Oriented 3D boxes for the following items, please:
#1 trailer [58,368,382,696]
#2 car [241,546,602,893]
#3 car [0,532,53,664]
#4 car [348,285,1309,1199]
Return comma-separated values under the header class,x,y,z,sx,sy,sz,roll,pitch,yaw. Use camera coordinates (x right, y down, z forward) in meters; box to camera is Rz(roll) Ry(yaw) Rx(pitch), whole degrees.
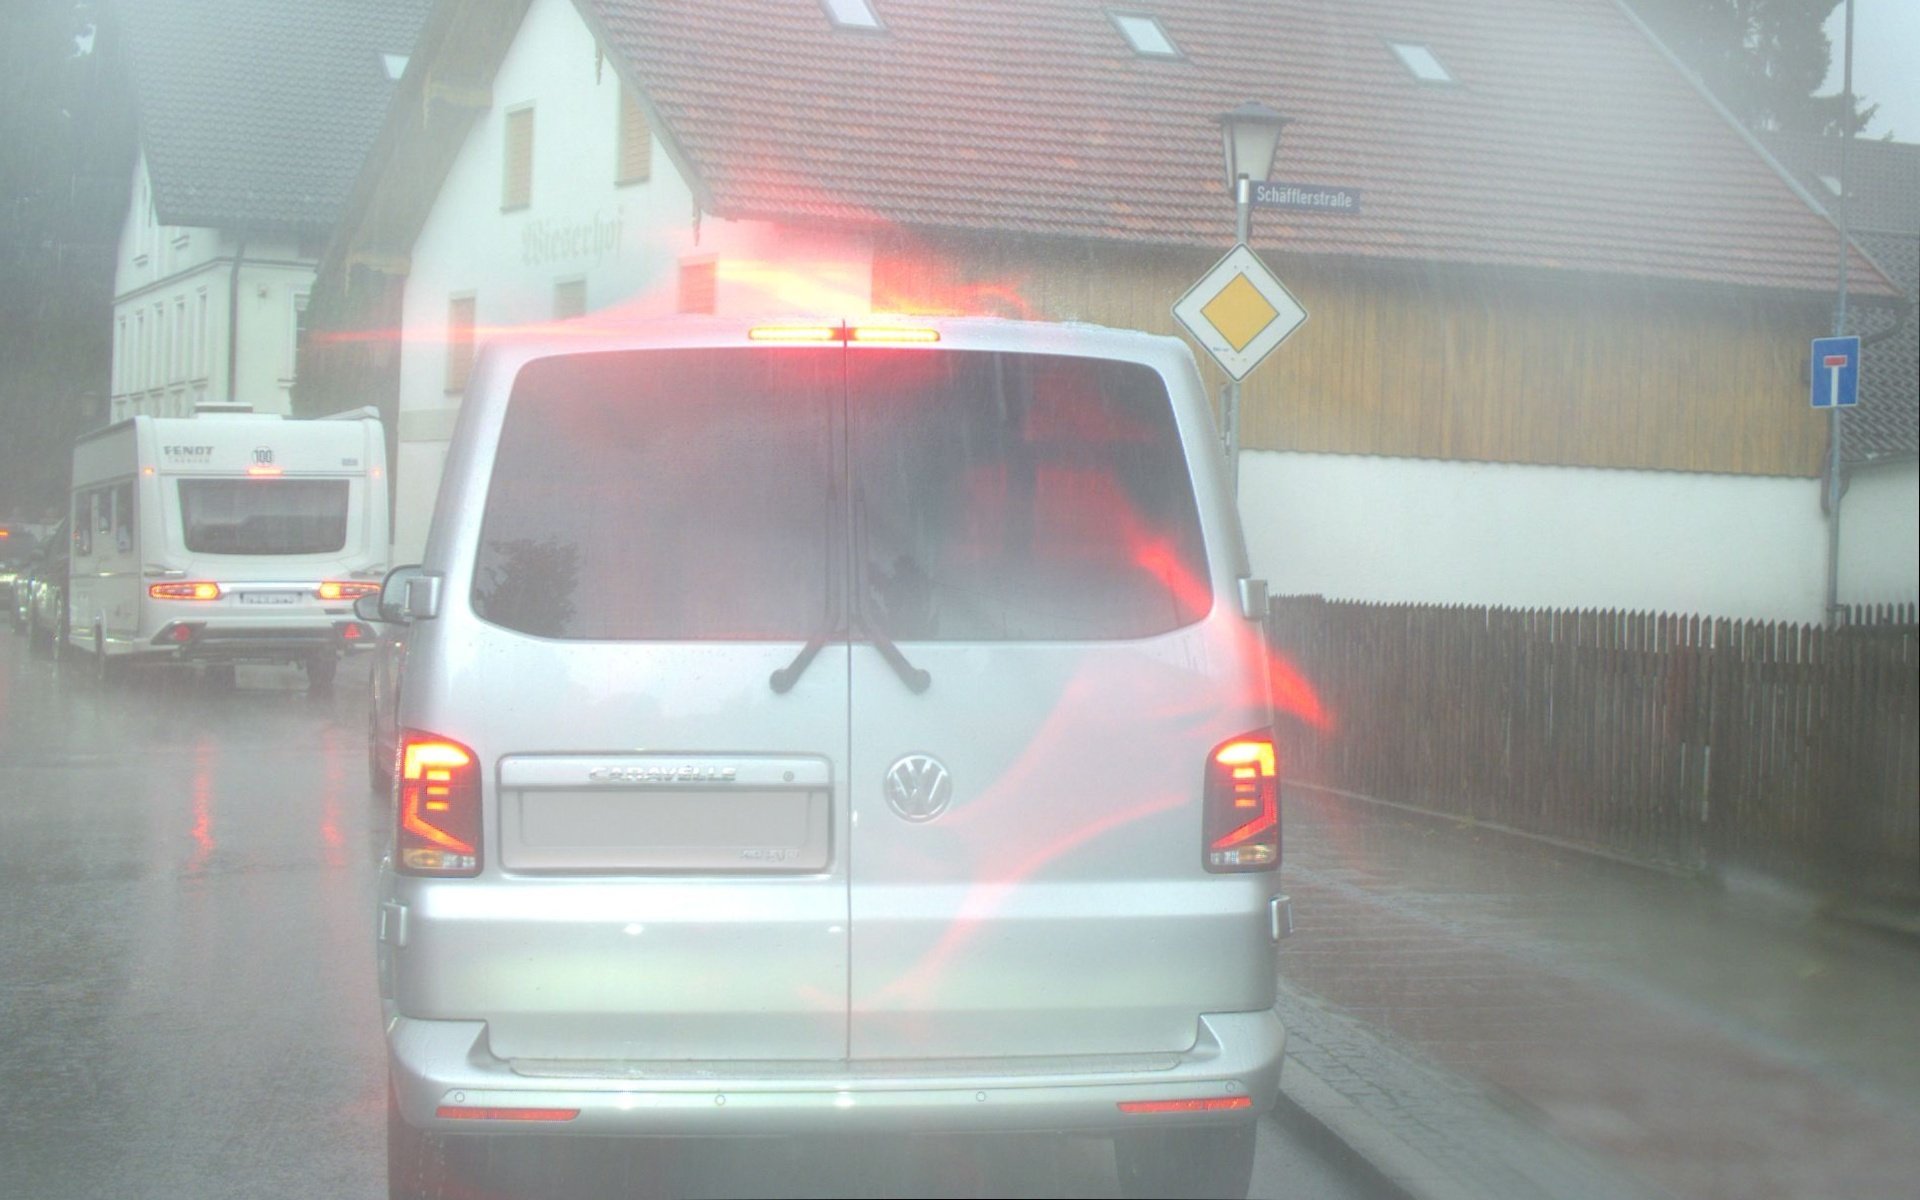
class,x,y,z,sx,sy,sz,roll,pitch,yaw
trailer,-7.352,-0.646,33.594,2.270,2.894,6.134,0,1,-20
car,-2.919,0.541,19.027,1.708,1.578,4.687,-1,2,-8
car,-15.623,-0.106,53.516,2.168,1.892,5.016,2,1,-23
car,-0.232,0.363,8.916,1.776,1.956,5.074,0,1,0
